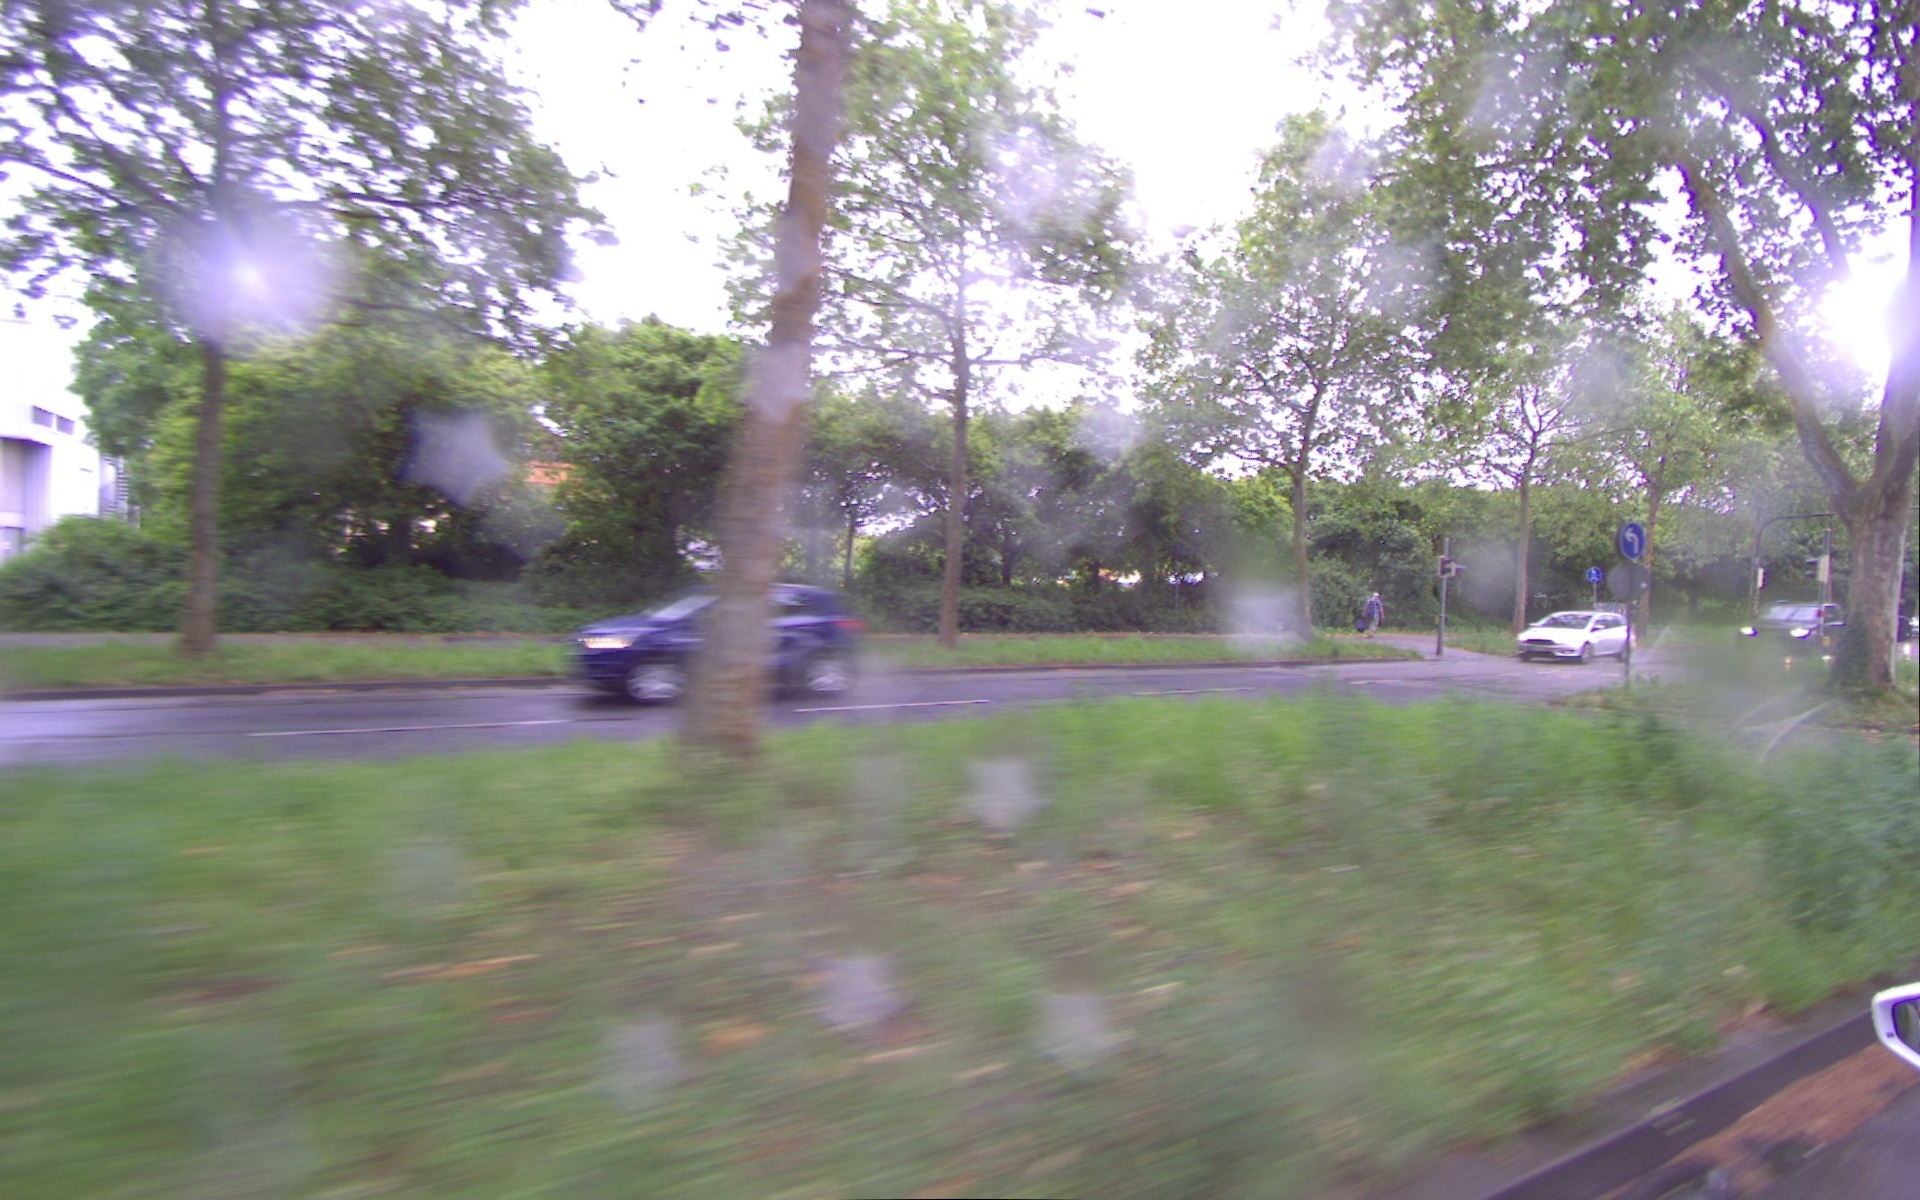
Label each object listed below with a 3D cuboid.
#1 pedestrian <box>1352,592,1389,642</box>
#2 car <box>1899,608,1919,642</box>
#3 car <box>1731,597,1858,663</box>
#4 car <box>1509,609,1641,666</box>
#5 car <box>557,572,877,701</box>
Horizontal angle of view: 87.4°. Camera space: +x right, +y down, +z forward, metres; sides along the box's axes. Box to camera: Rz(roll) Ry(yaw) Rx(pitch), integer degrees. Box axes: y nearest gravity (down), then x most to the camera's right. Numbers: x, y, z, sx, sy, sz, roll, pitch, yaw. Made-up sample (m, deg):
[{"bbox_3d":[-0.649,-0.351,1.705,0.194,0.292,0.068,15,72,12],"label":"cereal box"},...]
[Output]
[{"bbox_3d":[14.619,0.603,35.769,0.890,1.696,0.825,1,2,-34],"label":"pedestrian"},{"bbox_3d":[50.552,1.346,52.020,4.396,1.653,1.733,2,1,-33],"label":"car"},{"bbox_3d":[26.190,0.931,31.465,5.069,1.866,1.732,1,2,-35],"label":"car"},{"bbox_3d":[17.972,1.071,29.311,4.192,1.496,1.732,1,2,-35],"label":"car"},{"bbox_3d":[-3.468,0.490,14.601,4.165,1.612,1.732,2,1,-34],"label":"car"}]
